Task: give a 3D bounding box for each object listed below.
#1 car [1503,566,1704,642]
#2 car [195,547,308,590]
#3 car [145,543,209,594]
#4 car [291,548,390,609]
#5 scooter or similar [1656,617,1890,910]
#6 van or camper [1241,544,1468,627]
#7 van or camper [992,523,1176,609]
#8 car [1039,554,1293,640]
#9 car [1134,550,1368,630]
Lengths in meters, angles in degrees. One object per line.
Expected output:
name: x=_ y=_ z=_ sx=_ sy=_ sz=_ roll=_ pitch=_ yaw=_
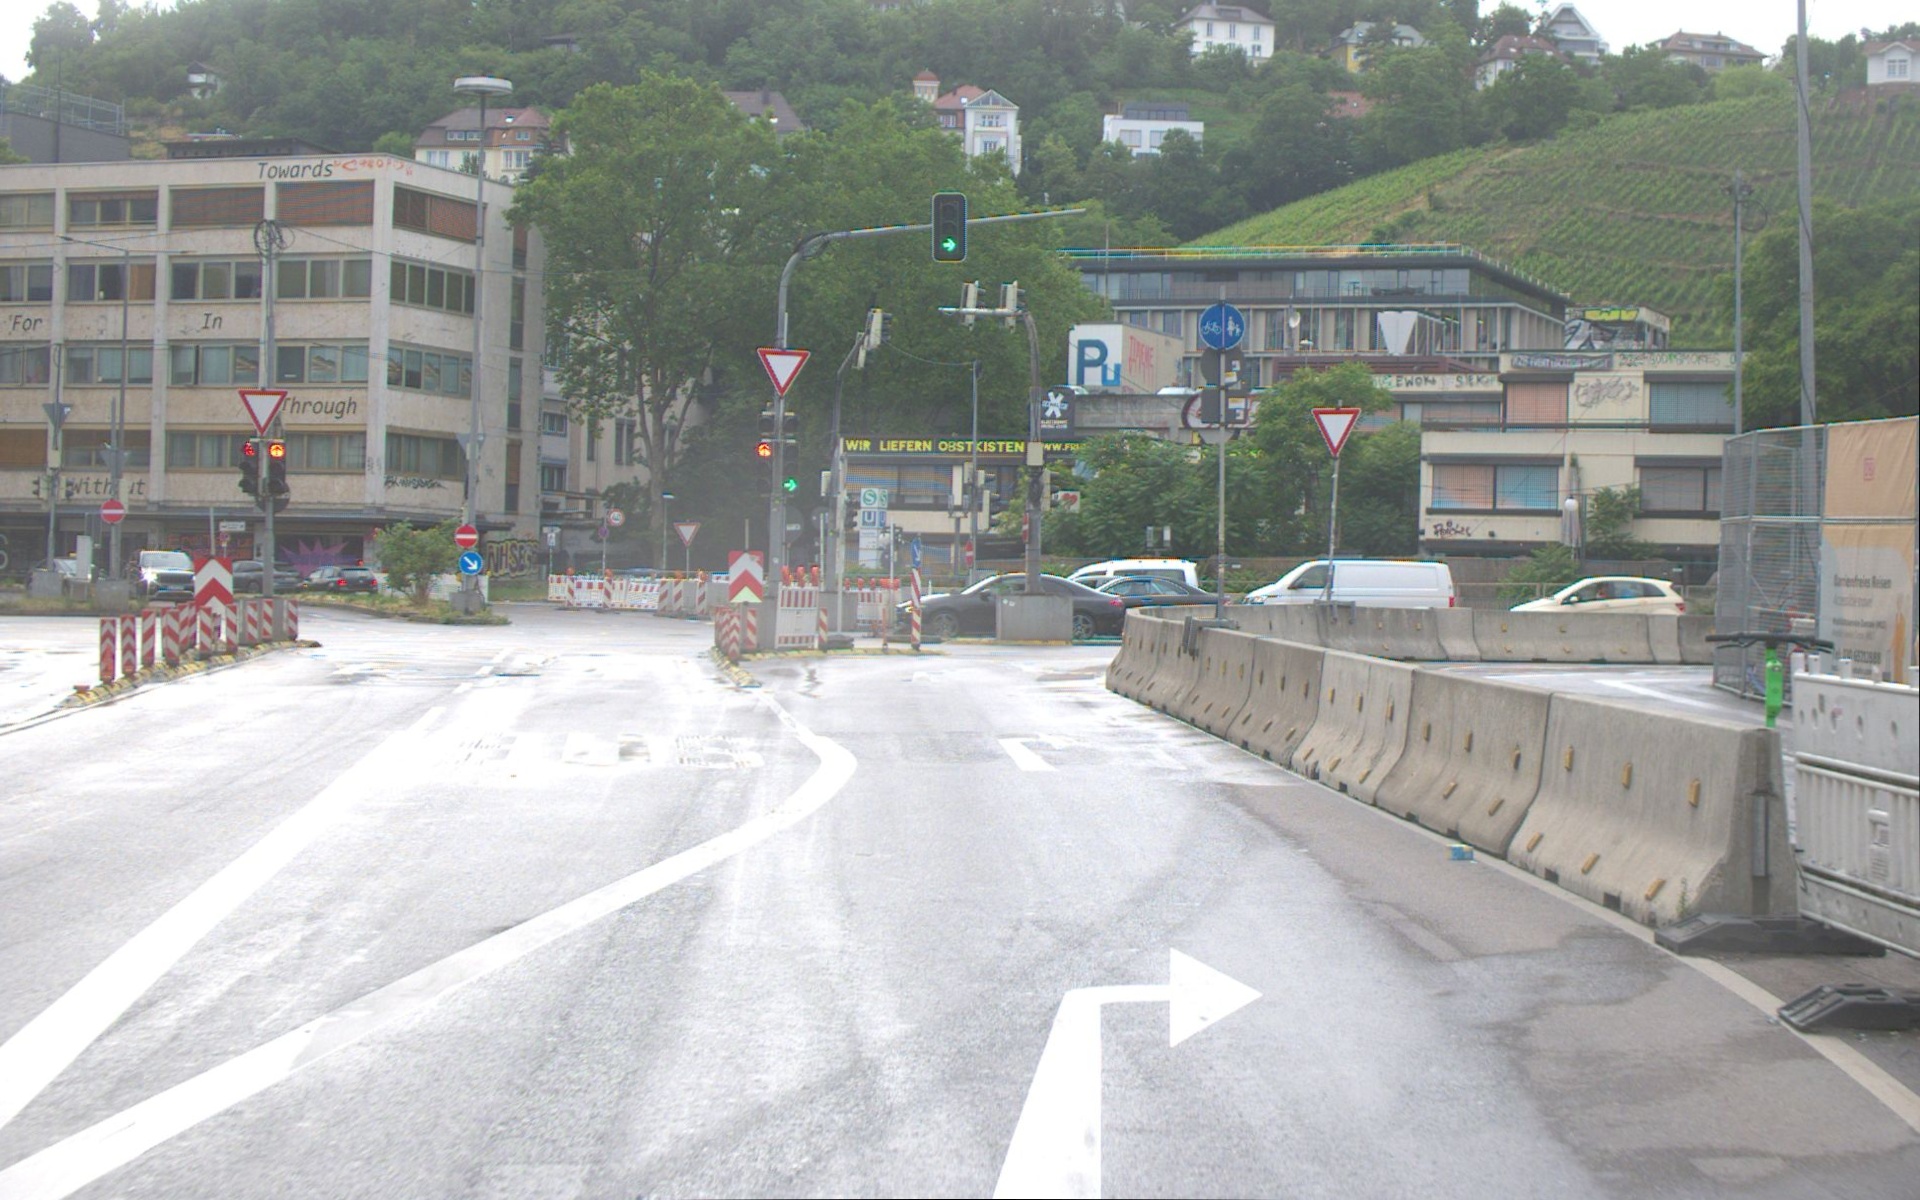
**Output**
car: x=15.231 y=0.089 z=81.510 sx=4.365 sy=1.668 sz=1.848 roll=1 pitch=1 yaw=-1
car: x=-26.668 y=-1.186 z=129.386 sx=4.072 sy=1.486 sz=1.732 roll=2 pitch=1 yaw=32
car: x=-23.713 y=-0.970 z=104.059 sx=1.830 sy=1.481 sz=4.001 roll=1 pitch=1 yaw=-13
car: x=-21.724 y=-0.749 z=120.433 sx=1.993 sy=2.007 sz=4.000 roll=1 pitch=1 yaw=-32
scooter or similar: x=3.656 y=0.708 z=15.576 sx=0.674 sy=1.210 sz=1.571 roll=2 pitch=1 yaw=1
van or camper: x=9.664 y=-0.368 z=84.410 sx=5.194 sy=1.887 sz=1.888 roll=1 pitch=1 yaw=-6
van or camper: x=3.024 y=-0.838 z=84.315 sx=4.241 sy=1.972 sz=1.852 roll=1 pitch=1 yaw=-6
car: x=4.115 y=-0.066 z=68.944 sx=4.646 sy=1.593 sz=2.019 roll=1 pitch=1 yaw=-16
car: x=6.162 y=-0.223 z=73.167 sx=4.647 sy=1.593 sz=2.019 roll=1 pitch=1 yaw=-6
